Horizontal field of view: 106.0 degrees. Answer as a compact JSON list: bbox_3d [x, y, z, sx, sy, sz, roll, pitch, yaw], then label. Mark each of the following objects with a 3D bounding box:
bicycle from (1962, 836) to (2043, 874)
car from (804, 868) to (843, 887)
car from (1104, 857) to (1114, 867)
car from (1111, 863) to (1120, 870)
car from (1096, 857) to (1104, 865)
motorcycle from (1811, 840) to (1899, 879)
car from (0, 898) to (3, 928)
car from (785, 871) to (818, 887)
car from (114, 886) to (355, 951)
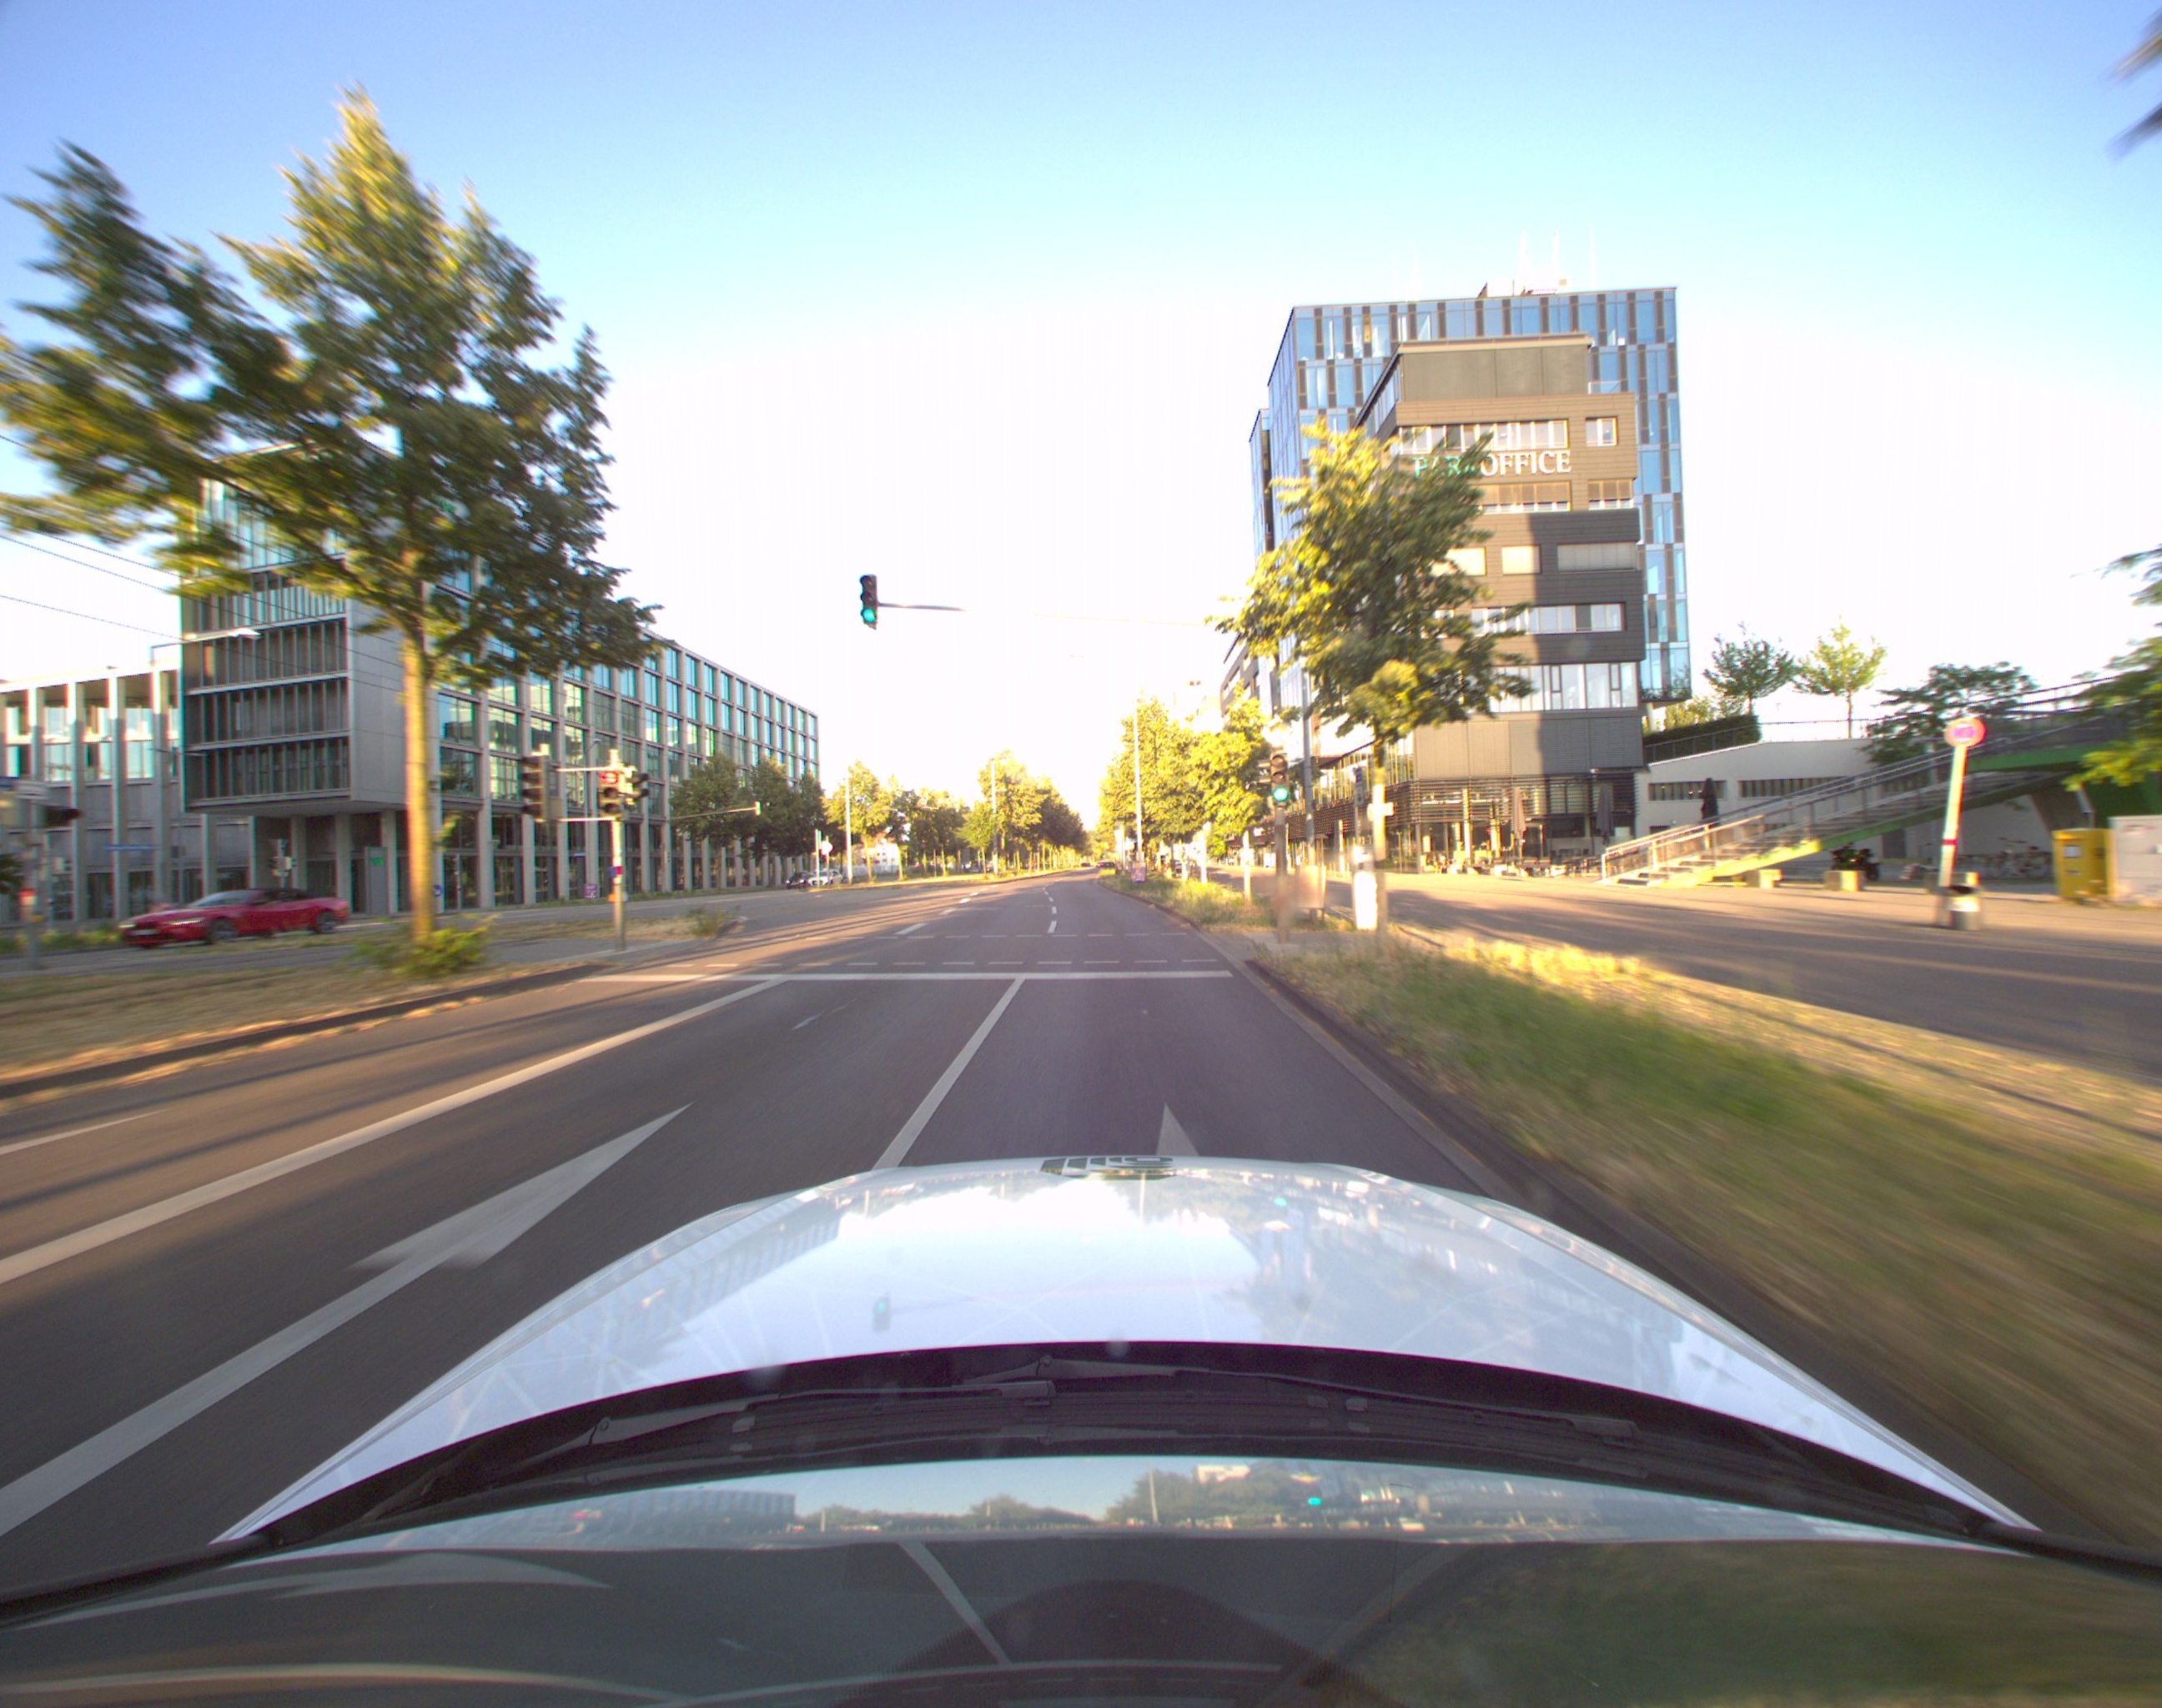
[{"bbox_3d":[26.509,0.021,23.463,0.564,1.052,1.774,-2,0,12],"label":"bicycle"},{"bbox_3d":[-19.939,1.830,63.210,1.781,1.332,3.671,-2,0,0],"label":"car"},{"bbox_3d":[5.805,1.698,169.623,1.986,2.013,4.001,-2,0,1],"label":"car"},{"bbox_3d":[8.344,3.003,196.587,1.865,1.574,3.680,-2,0,3],"label":"car"},{"bbox_3d":[4.983,1.868,211.976,2.080,2.013,4.001,-2,0,1],"label":"car"},{"bbox_3d":[23.294,0.168,24.583,0.646,1.094,2.337,-2,0,8],"label":"motorcycle"},{"bbox_3d":[-75.325,4.072,54.057,1.979,2.013,4.016,-2,0,15],"label":"car"},{"bbox_3d":[-25.167,2.244,73.538,1.651,1.332,3.671,-2,0,0],"label":"car"},{"bbox_3d":[-22.348,1.637,21.814,1.651,1.332,4.527,-2,0,0],"label":"car"}]
